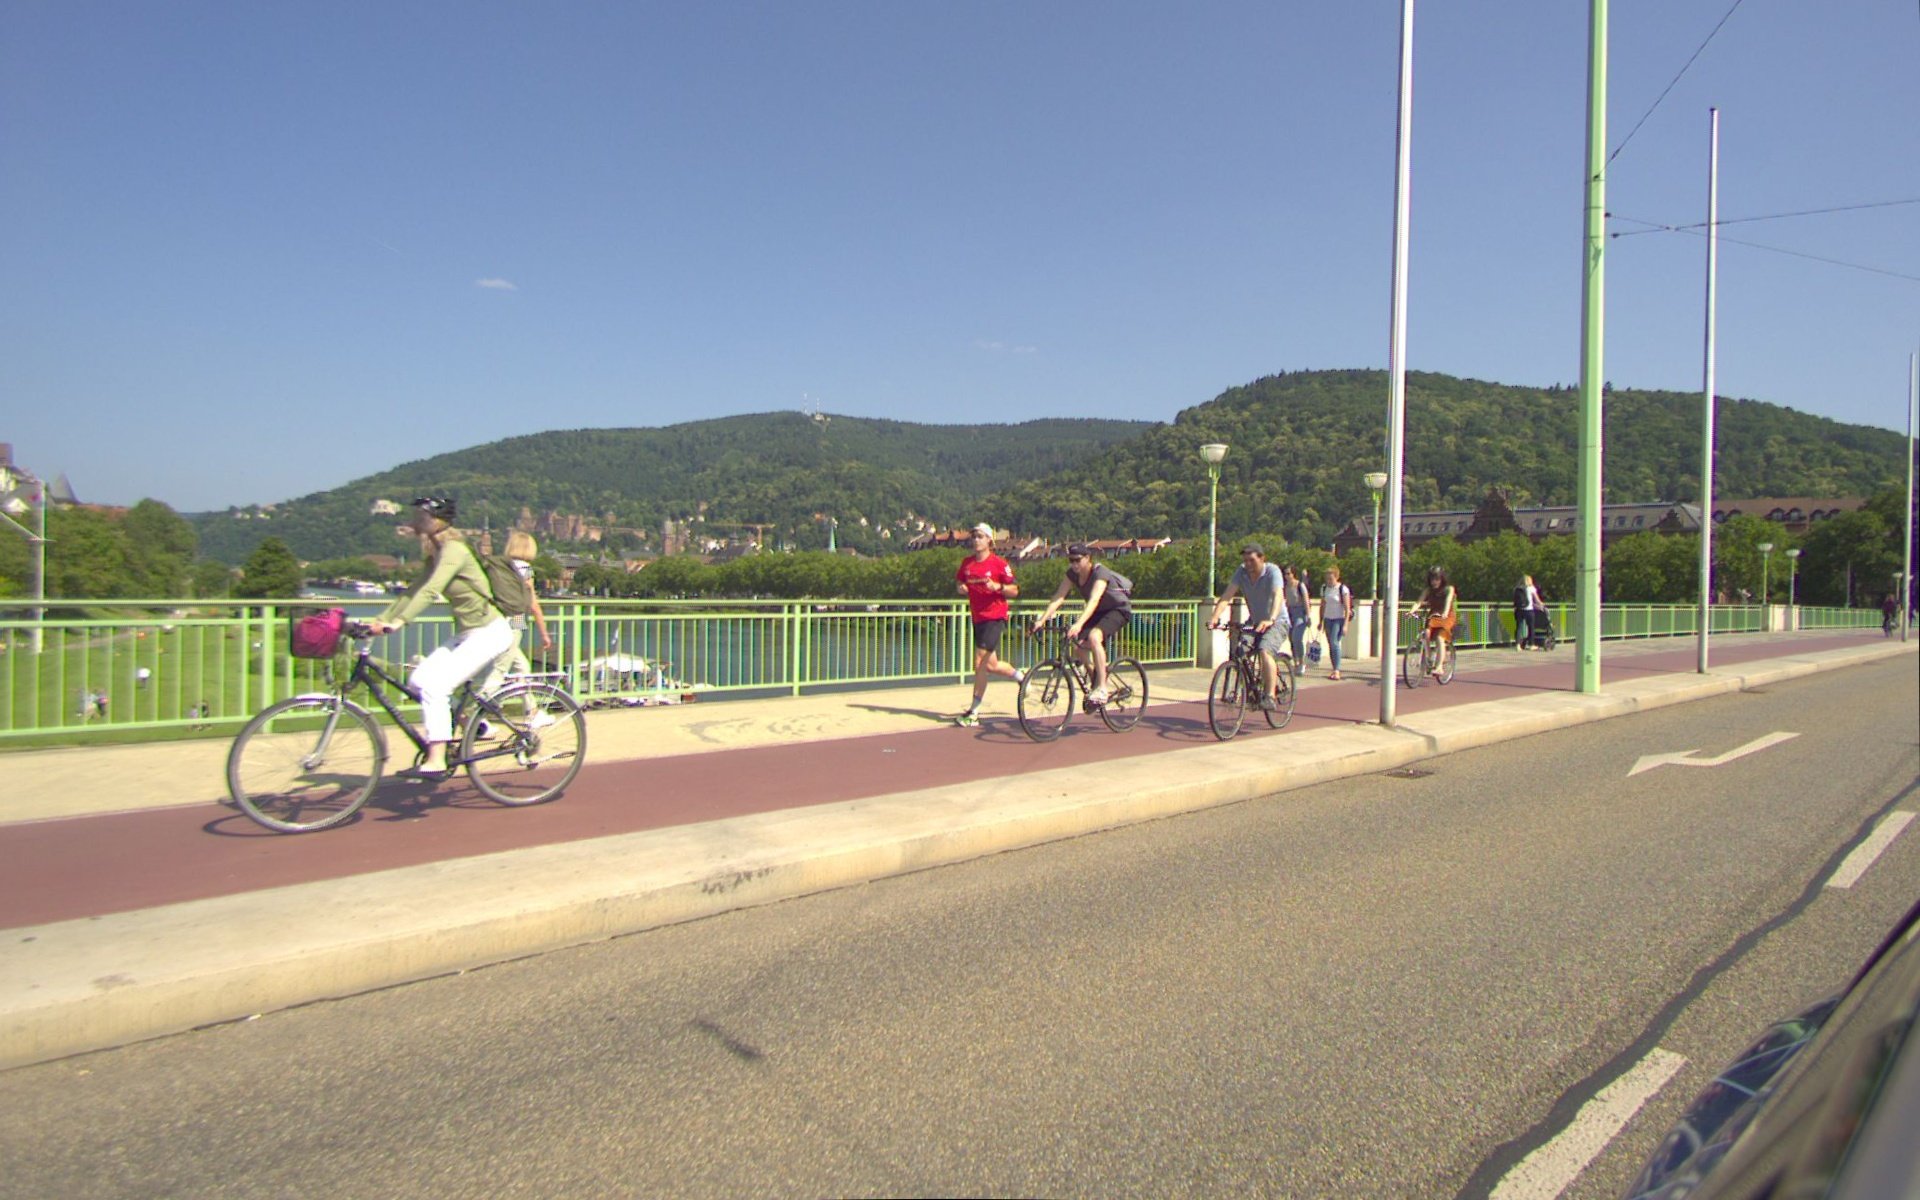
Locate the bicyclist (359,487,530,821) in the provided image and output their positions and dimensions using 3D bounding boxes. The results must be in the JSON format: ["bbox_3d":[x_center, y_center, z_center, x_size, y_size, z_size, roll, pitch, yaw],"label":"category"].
[{"bbox_3d":[-2.803,0.258,5.505,0.690,1.671,0.587,0,2,-42],"label":"bicyclist"}]

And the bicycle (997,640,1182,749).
[{"bbox_3d":[1.182,0.791,8.957,1.800,0.775,0.594,0,2,-43],"label":"bicycle"}]

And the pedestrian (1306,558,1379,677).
[{"bbox_3d":[5.585,0.238,14.780,0.810,1.679,0.664,0,2,-41],"label":"pedestrian"}]

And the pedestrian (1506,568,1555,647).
[{"bbox_3d":[12.859,0.158,22.800,0.844,1.727,0.664,0,2,-41],"label":"pedestrian"}]

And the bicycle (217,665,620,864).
[{"bbox_3d":[-2.855,0.809,5.485,1.835,0.775,0.594,0,2,-43],"label":"bicycle"}]

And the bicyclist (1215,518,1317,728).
[{"bbox_3d":[2.820,0.192,9.323,0.690,1.842,0.587,0,2,-42],"label":"bicyclist"}]

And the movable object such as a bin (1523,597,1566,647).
[{"bbox_3d":[13.475,0.486,23.325,0.917,1.104,0.583,0,2,-41],"label":"movable object such as a bin"}]

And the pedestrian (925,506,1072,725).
[{"bbox_3d":[0.370,0.119,9.654,1.108,1.948,0.812,0,2,-41],"label":"pedestrian"}]

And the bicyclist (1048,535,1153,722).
[{"bbox_3d":[1.249,0.229,9.000,0.690,1.578,0.587,0,2,-42],"label":"bicyclist"}]

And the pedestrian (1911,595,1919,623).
[{"bbox_3d":[59.347,0.555,62.329,1.063,1.683,0.949,0,2,-40],"label":"pedestrian"}]

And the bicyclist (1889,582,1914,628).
[{"bbox_3d":[36.944,0.196,39.701,0.660,1.791,0.587,0,1,-40],"label":"bicyclist"}]

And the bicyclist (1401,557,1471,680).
[{"bbox_3d":[6.651,0.240,14.131,0.689,1.671,0.606,0,2,-39],"label":"bicyclist"}]

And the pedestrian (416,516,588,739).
[{"bbox_3d":[-3.789,0.185,8.369,1.063,1.683,0.949,0,2,-40],"label":"pedestrian"}]

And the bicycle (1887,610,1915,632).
[{"bbox_3d":[36.921,0.816,39.703,1.833,0.775,0.595,0,2,-40],"label":"bicycle"}]

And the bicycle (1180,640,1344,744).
[{"bbox_3d":[2.826,0.809,9.353,1.835,0.775,0.594,0,2,-43],"label":"bicycle"}]

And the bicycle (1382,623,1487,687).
[{"bbox_3d":[6.657,0.746,14.157,1.833,0.775,0.595,0,2,-40],"label":"bicycle"}]

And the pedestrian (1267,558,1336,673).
[{"bbox_3d":[5.157,0.213,15.294,0.733,1.679,0.668,0,2,-40],"label":"pedestrian"}]
